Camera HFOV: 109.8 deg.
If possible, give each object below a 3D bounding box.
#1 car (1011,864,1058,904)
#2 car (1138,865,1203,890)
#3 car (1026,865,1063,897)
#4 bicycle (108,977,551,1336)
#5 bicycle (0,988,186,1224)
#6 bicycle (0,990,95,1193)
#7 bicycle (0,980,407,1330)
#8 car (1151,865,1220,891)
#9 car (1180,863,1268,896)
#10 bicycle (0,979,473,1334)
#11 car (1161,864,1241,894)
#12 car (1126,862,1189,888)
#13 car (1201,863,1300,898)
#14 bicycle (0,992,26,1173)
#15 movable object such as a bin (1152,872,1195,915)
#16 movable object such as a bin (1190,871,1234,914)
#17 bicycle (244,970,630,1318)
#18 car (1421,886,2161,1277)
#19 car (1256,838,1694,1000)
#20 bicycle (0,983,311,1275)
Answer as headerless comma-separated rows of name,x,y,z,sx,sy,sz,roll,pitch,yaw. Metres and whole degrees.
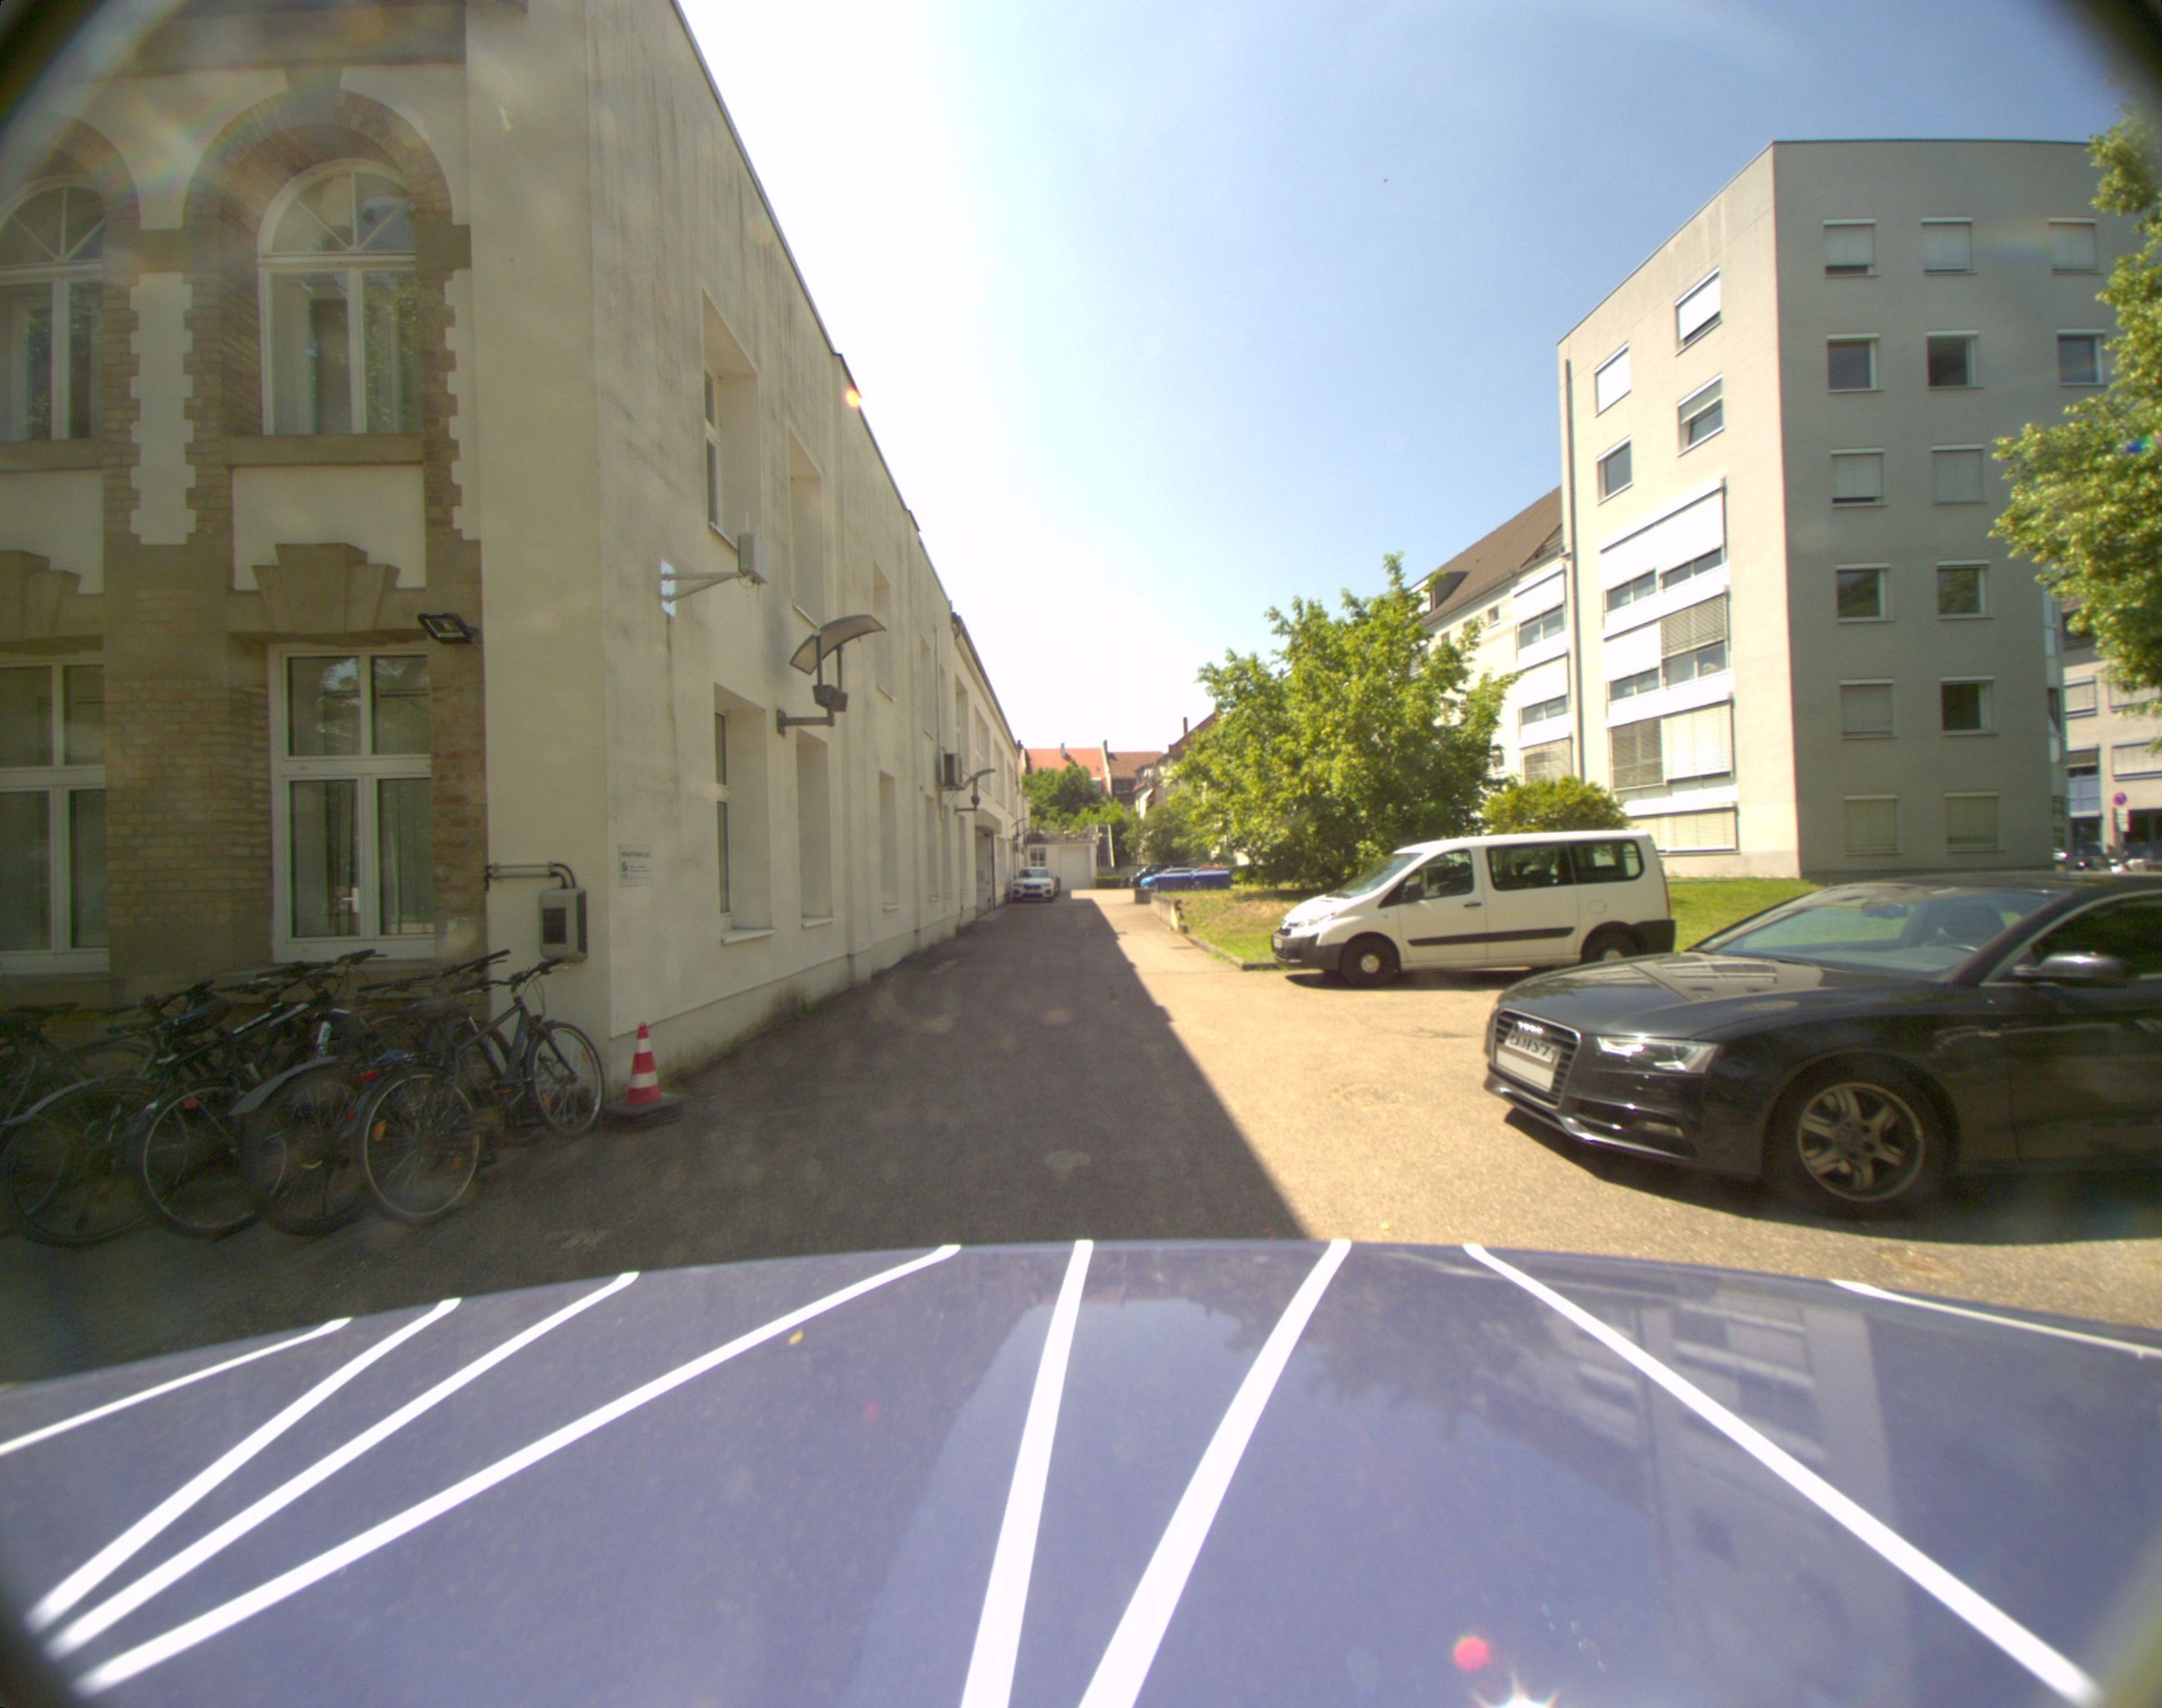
car,-2.240,1.424,38.061,2.011,1.792,4.727,-2,0,0
car,6.256,1.629,53.240,4.223,1.559,1.612,-2,0,-6
car,-2.197,1.614,46.864,2.011,1.792,4.727,-2,0,0
bicycle,-3.557,1.324,3.866,0.406,1.095,1.826,-2,0,0
bicycle,-5.866,1.392,3.875,0.406,1.095,1.826,-2,0,0
bicycle,-6.439,1.408,3.873,0.406,1.095,1.826,-2,0,0
bicycle,-4.513,1.352,3.919,0.406,1.095,1.826,-2,0,0
car,6.882,1.578,50.185,4.223,1.559,1.612,-2,0,-6
car,7.547,1.326,40.267,4.223,1.559,1.612,-2,0,-6
bicycle,-4.073,1.339,3.896,0.406,1.095,1.826,-2,0,0
car,6.875,1.394,43.568,4.223,1.559,1.612,-2,0,-6
car,5.618,1.534,56.173,4.223,1.812,2.009,-2,0,-6
car,8.348,1.291,37.566,4.445,1.559,1.612,-2,0,-6
bicycle,-6.881,1.421,3.881,0.406,1.095,1.826,-2,0,0
movable object such as a bin,3.130,1.338,25.821,1.271,1.380,1.095,-2,0,0
movable object such as a bin,4.428,1.300,25.852,1.271,1.380,1.095,-2,0,0
bicycle,-3.088,1.288,3.919,0.406,1.095,1.826,-2,0,0
car,4.420,0.912,3.868,4.440,1.371,2.025,-2,-2,2
car,5.062,0.812,10.373,4.859,1.872,2.068,-2,0,2
bicycle,-5.124,1.370,3.925,0.406,1.095,1.826,-2,0,0
